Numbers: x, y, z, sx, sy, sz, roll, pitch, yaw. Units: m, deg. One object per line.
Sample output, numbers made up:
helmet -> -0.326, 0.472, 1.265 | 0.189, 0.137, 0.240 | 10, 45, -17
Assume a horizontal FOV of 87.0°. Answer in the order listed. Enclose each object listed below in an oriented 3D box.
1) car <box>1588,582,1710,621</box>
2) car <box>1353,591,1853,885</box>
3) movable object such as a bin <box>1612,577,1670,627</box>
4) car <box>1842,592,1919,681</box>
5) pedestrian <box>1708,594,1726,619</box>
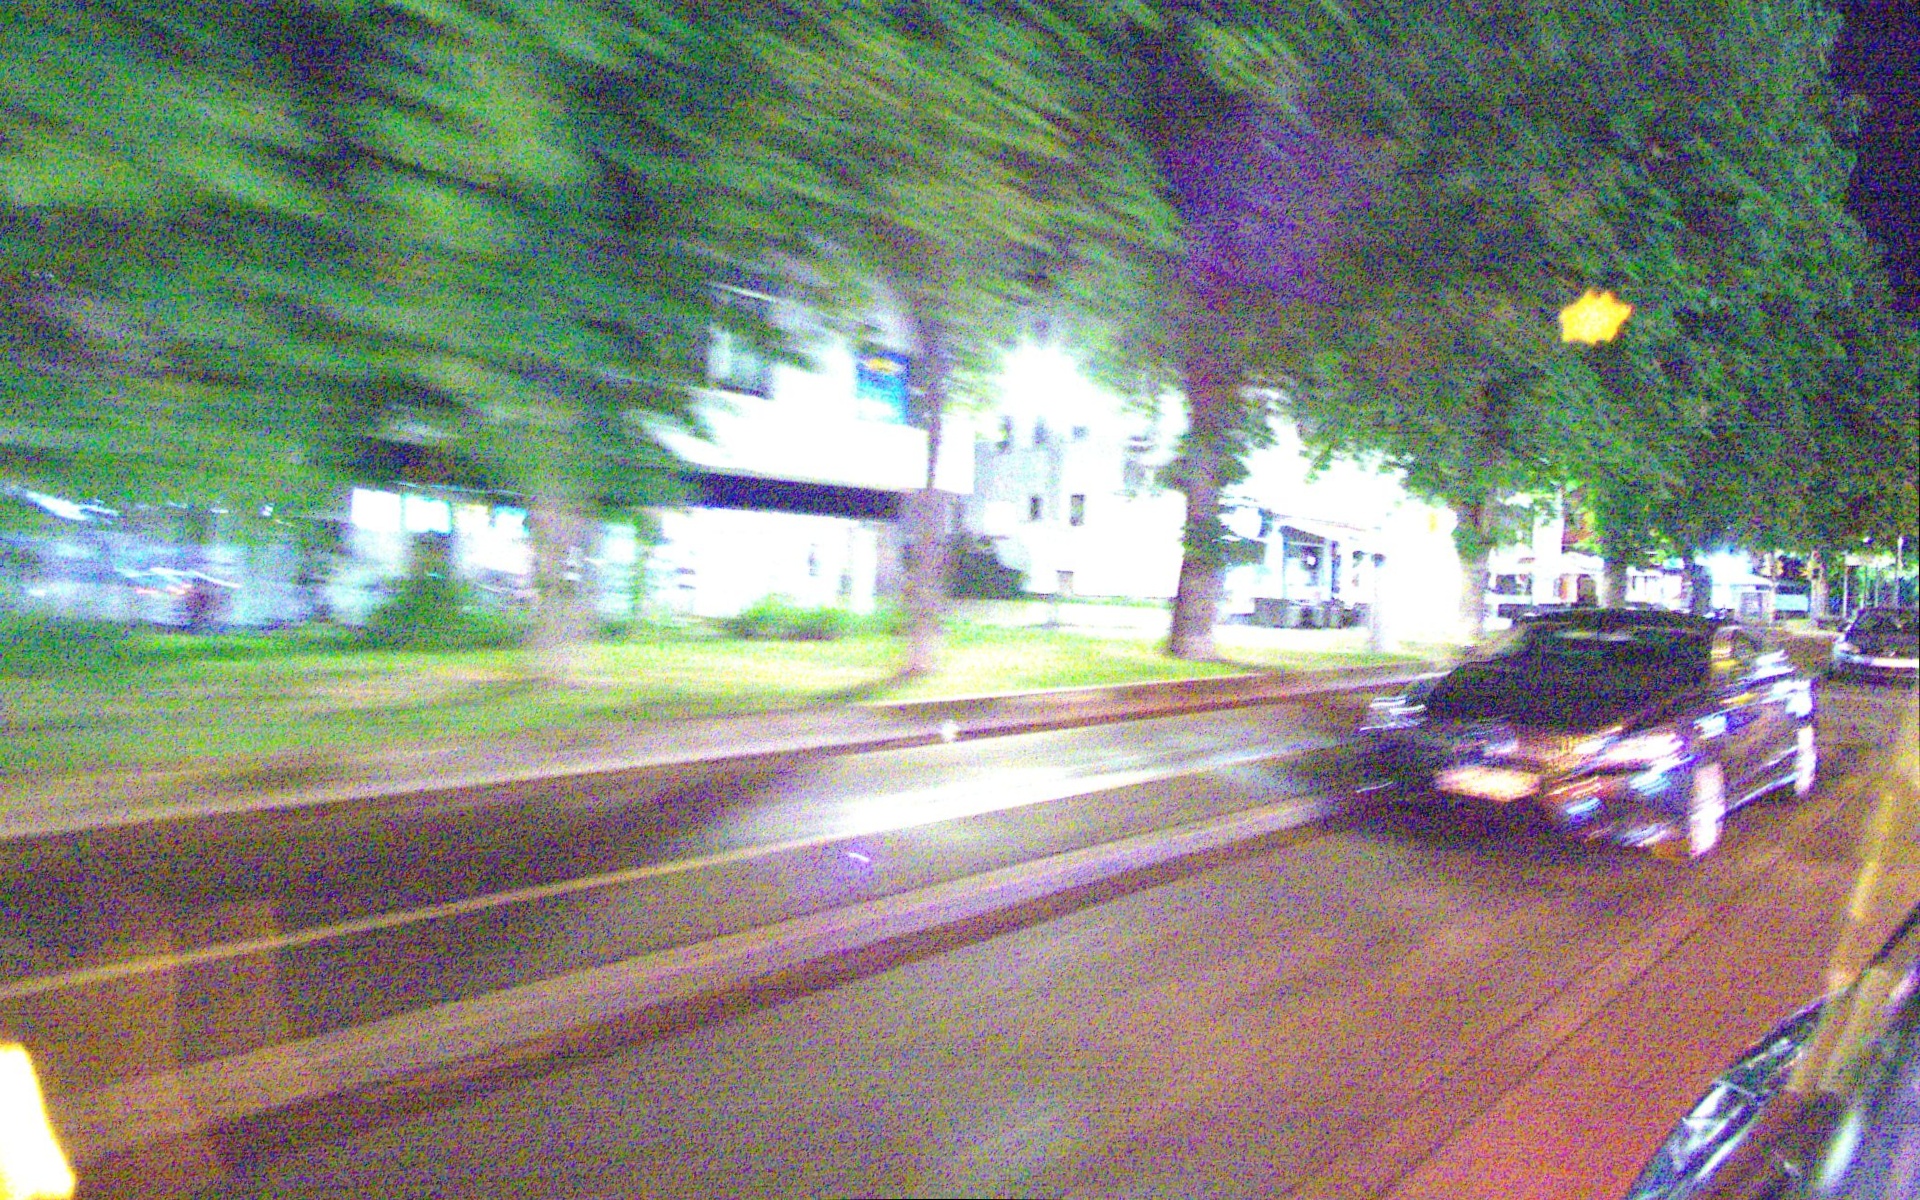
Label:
car -> 31.818, 0.020, 46.828 | 1.772, 1.550, 4.323 | -1, 3, -42
car -> 4.912, 0.717, 7.395 | 4.723, 1.432, 1.768 | 1, 2, -41
movable object such as a bin -> 19.440, 0.052, 28.880 | 0.976, 1.388, 1.162 | 1, 1, -42
car -> 18.593, 0.676, 19.610 | 3.945, 1.555, 1.693 | 0, 2, -41
pedestrian -> 39.568, 0.344, 52.910 | 0.518, 1.279, 0.503 | 1, 1, -13
